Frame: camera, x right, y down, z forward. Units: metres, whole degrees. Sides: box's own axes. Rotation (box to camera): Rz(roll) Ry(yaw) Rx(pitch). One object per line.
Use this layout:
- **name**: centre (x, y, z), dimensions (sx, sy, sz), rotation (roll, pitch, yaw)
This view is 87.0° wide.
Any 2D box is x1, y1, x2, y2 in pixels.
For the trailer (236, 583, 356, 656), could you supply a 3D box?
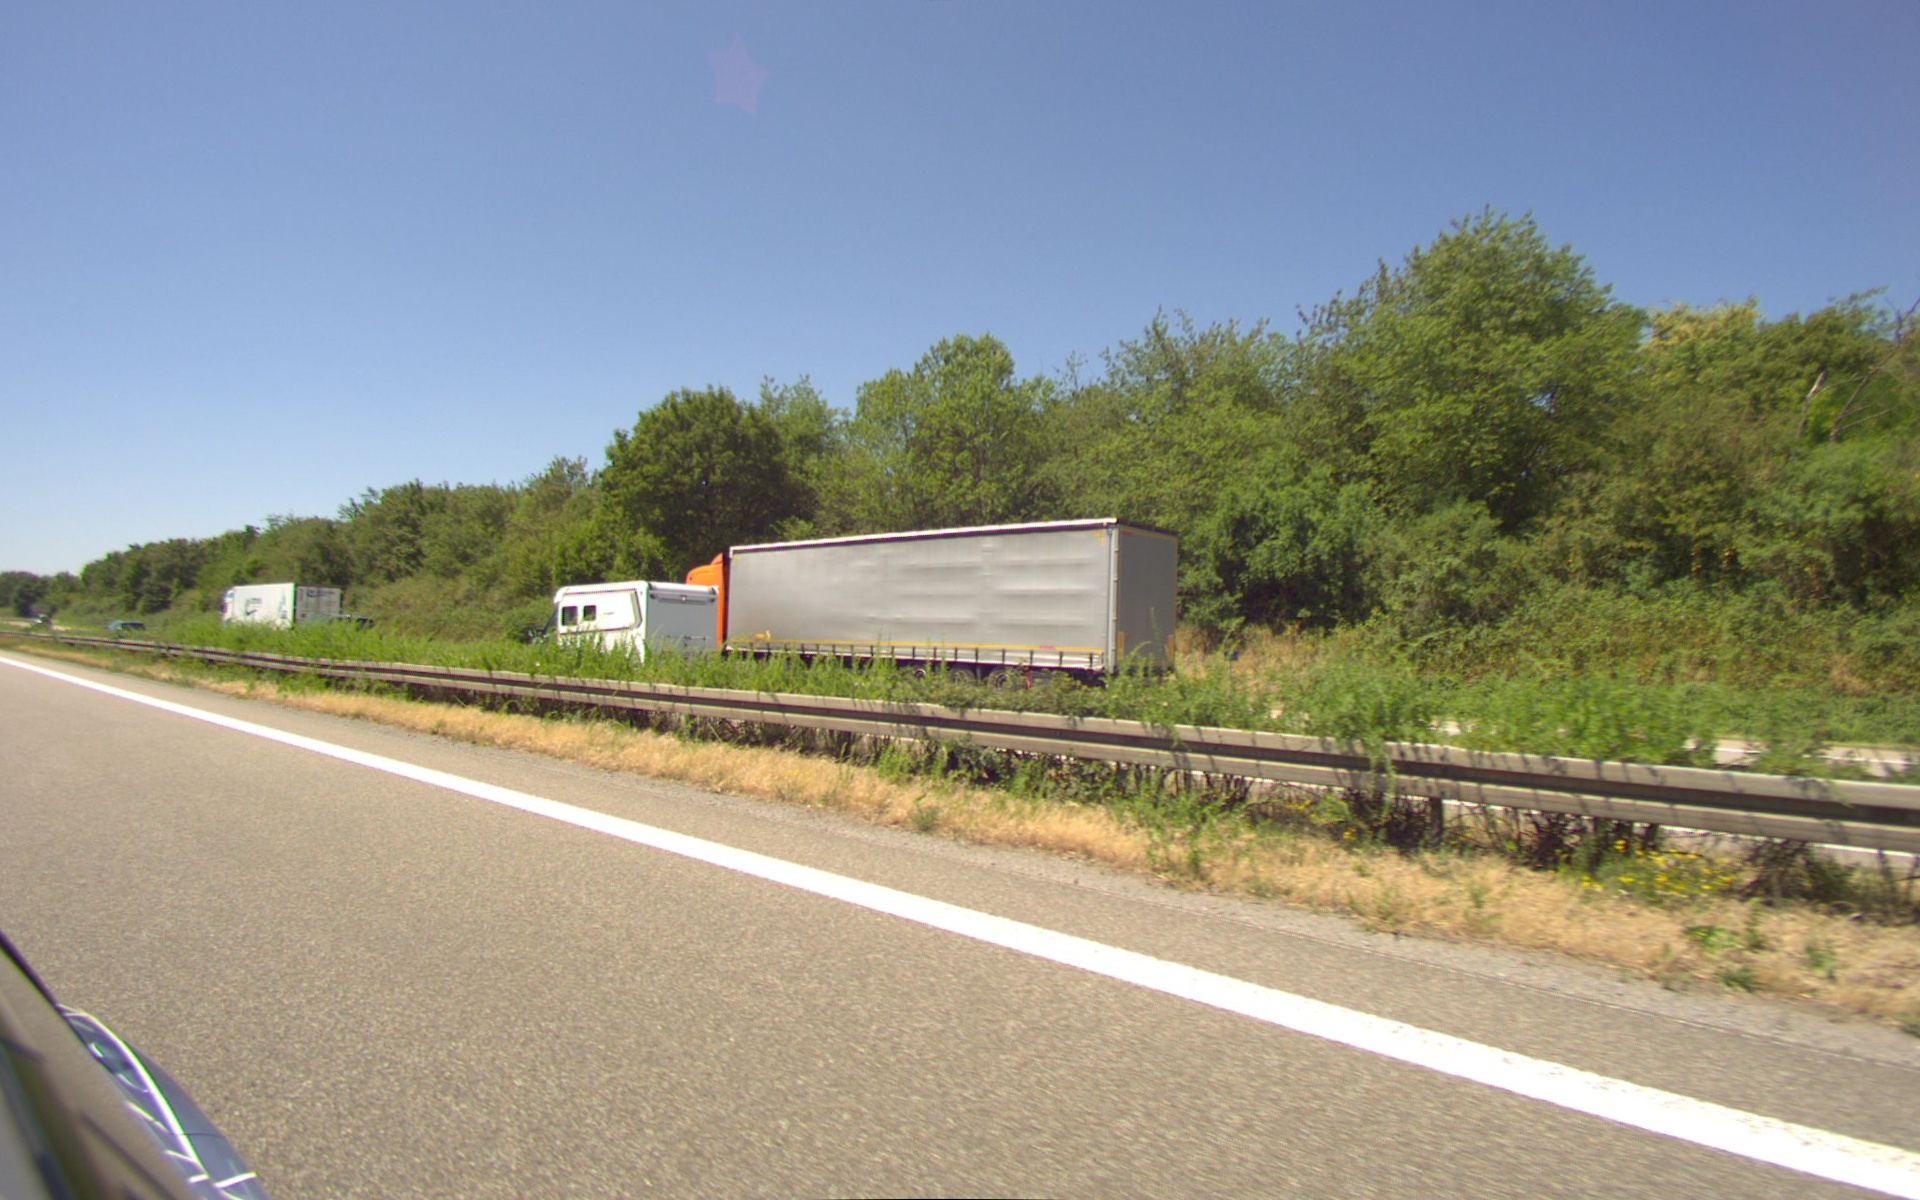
- **trailer**: centre (-41.903, 1.174, 63.571), dimensions (12.984, 4.222, 3.142), rotation (-1, 0, 42)

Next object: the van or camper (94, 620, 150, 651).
- **van or camper**: centre (-50.828, 2.126, 61.349), dimensions (5.057, 1.764, 1.972), rotation (-1, -2, 43)

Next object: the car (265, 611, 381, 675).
- **car**: centre (-21.048, 1.341, 33.357), dimensions (5.188, 1.921, 1.854), rotation (-1, 0, 41)

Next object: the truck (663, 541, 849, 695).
- **truck**: centre (-6.303, 0.510, 31.030), dimensions (5.175, 4.263, 3.103), rotation (-1, 0, 42)

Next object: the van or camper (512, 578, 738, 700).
- **van or camper**: centre (-9.618, 0.982, 28.428), dimensions (7.859, 2.989, 2.584), rotation (-1, 0, 43)

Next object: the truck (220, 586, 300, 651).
- **truck**: centre (-47.478, 1.225, 68.604), dimensions (5.942, 4.180, 3.160), rotation (-1, 0, 42)

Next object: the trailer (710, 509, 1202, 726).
- **trailer**: centre (-1.022, 0.413, 26.117), dimensions (14.478, 4.280, 3.110), rotation (-1, 0, 43)

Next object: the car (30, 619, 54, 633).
- **car**: centre (-129.514, 3.711, 142.793), dimensions (4.301, 1.929, 1.973), rotation (-1, -2, 41)
